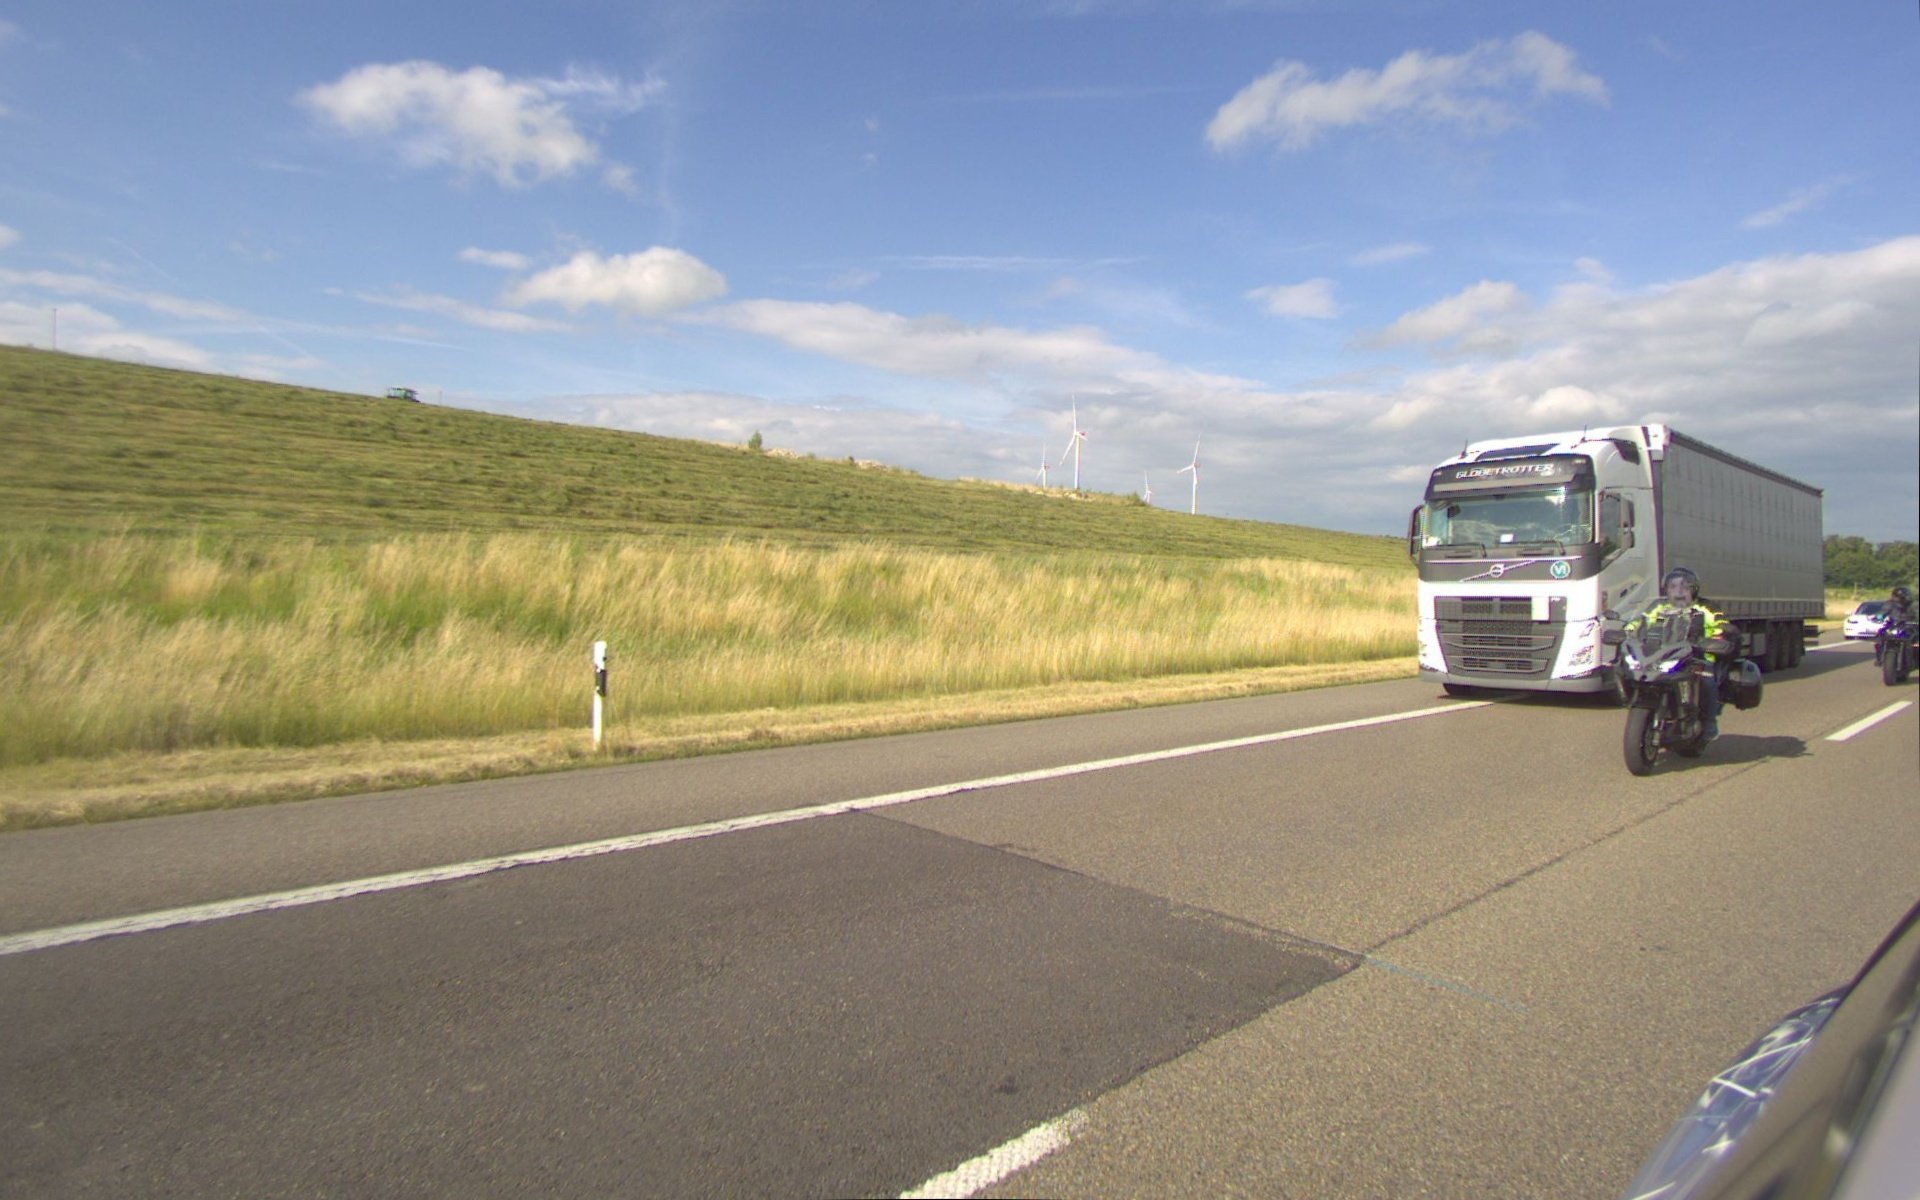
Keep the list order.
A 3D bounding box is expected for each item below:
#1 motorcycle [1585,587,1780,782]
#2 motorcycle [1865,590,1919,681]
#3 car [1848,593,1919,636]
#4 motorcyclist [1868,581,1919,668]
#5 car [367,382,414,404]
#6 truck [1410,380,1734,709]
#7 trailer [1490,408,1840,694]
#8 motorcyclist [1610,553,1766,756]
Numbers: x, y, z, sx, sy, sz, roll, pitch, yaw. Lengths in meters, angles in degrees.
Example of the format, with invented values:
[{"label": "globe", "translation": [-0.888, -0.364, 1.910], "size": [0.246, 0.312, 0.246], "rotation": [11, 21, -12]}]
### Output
[{"label": "motorcycle", "translation": [6.323, 0.634, 8.809], "size": [2.230, 1.474, 0.897], "rotation": [-1, 1, -41]}, {"label": "motorcycle", "translation": [16.389, 0.581, 17.479], "size": [1.948, 1.474, 0.897], "rotation": [-1, 1, -41]}, {"label": "car", "translation": [33.959, 0.473, 36.850], "size": [4.384, 1.435, 1.870], "rotation": [-1, 1, -41]}, {"label": "motorcyclist", "translation": [16.388, 0.402, 17.509], "size": [0.877, 1.474, 0.897], "rotation": [0, 1, -41]}, {"label": "car", "translation": [-59.135, -21.507, 105.207], "size": [1.701, 1.565, 3.944], "rotation": [1, 1, 39]}, {"label": "truck", "translation": [9.588, -0.726, 15.589], "size": [6.014, 4.091, 2.605], "rotation": [0, 1, -42]}, {"label": "trailer", "translation": [14.519, -0.760, 19.981], "size": [13.462, 4.091, 2.621], "rotation": [0, 1, -42]}, {"label": "motorcyclist", "translation": [6.341, 0.424, 8.817], "size": [1.004, 1.637, 0.897], "rotation": [0, 1, -41]}]
